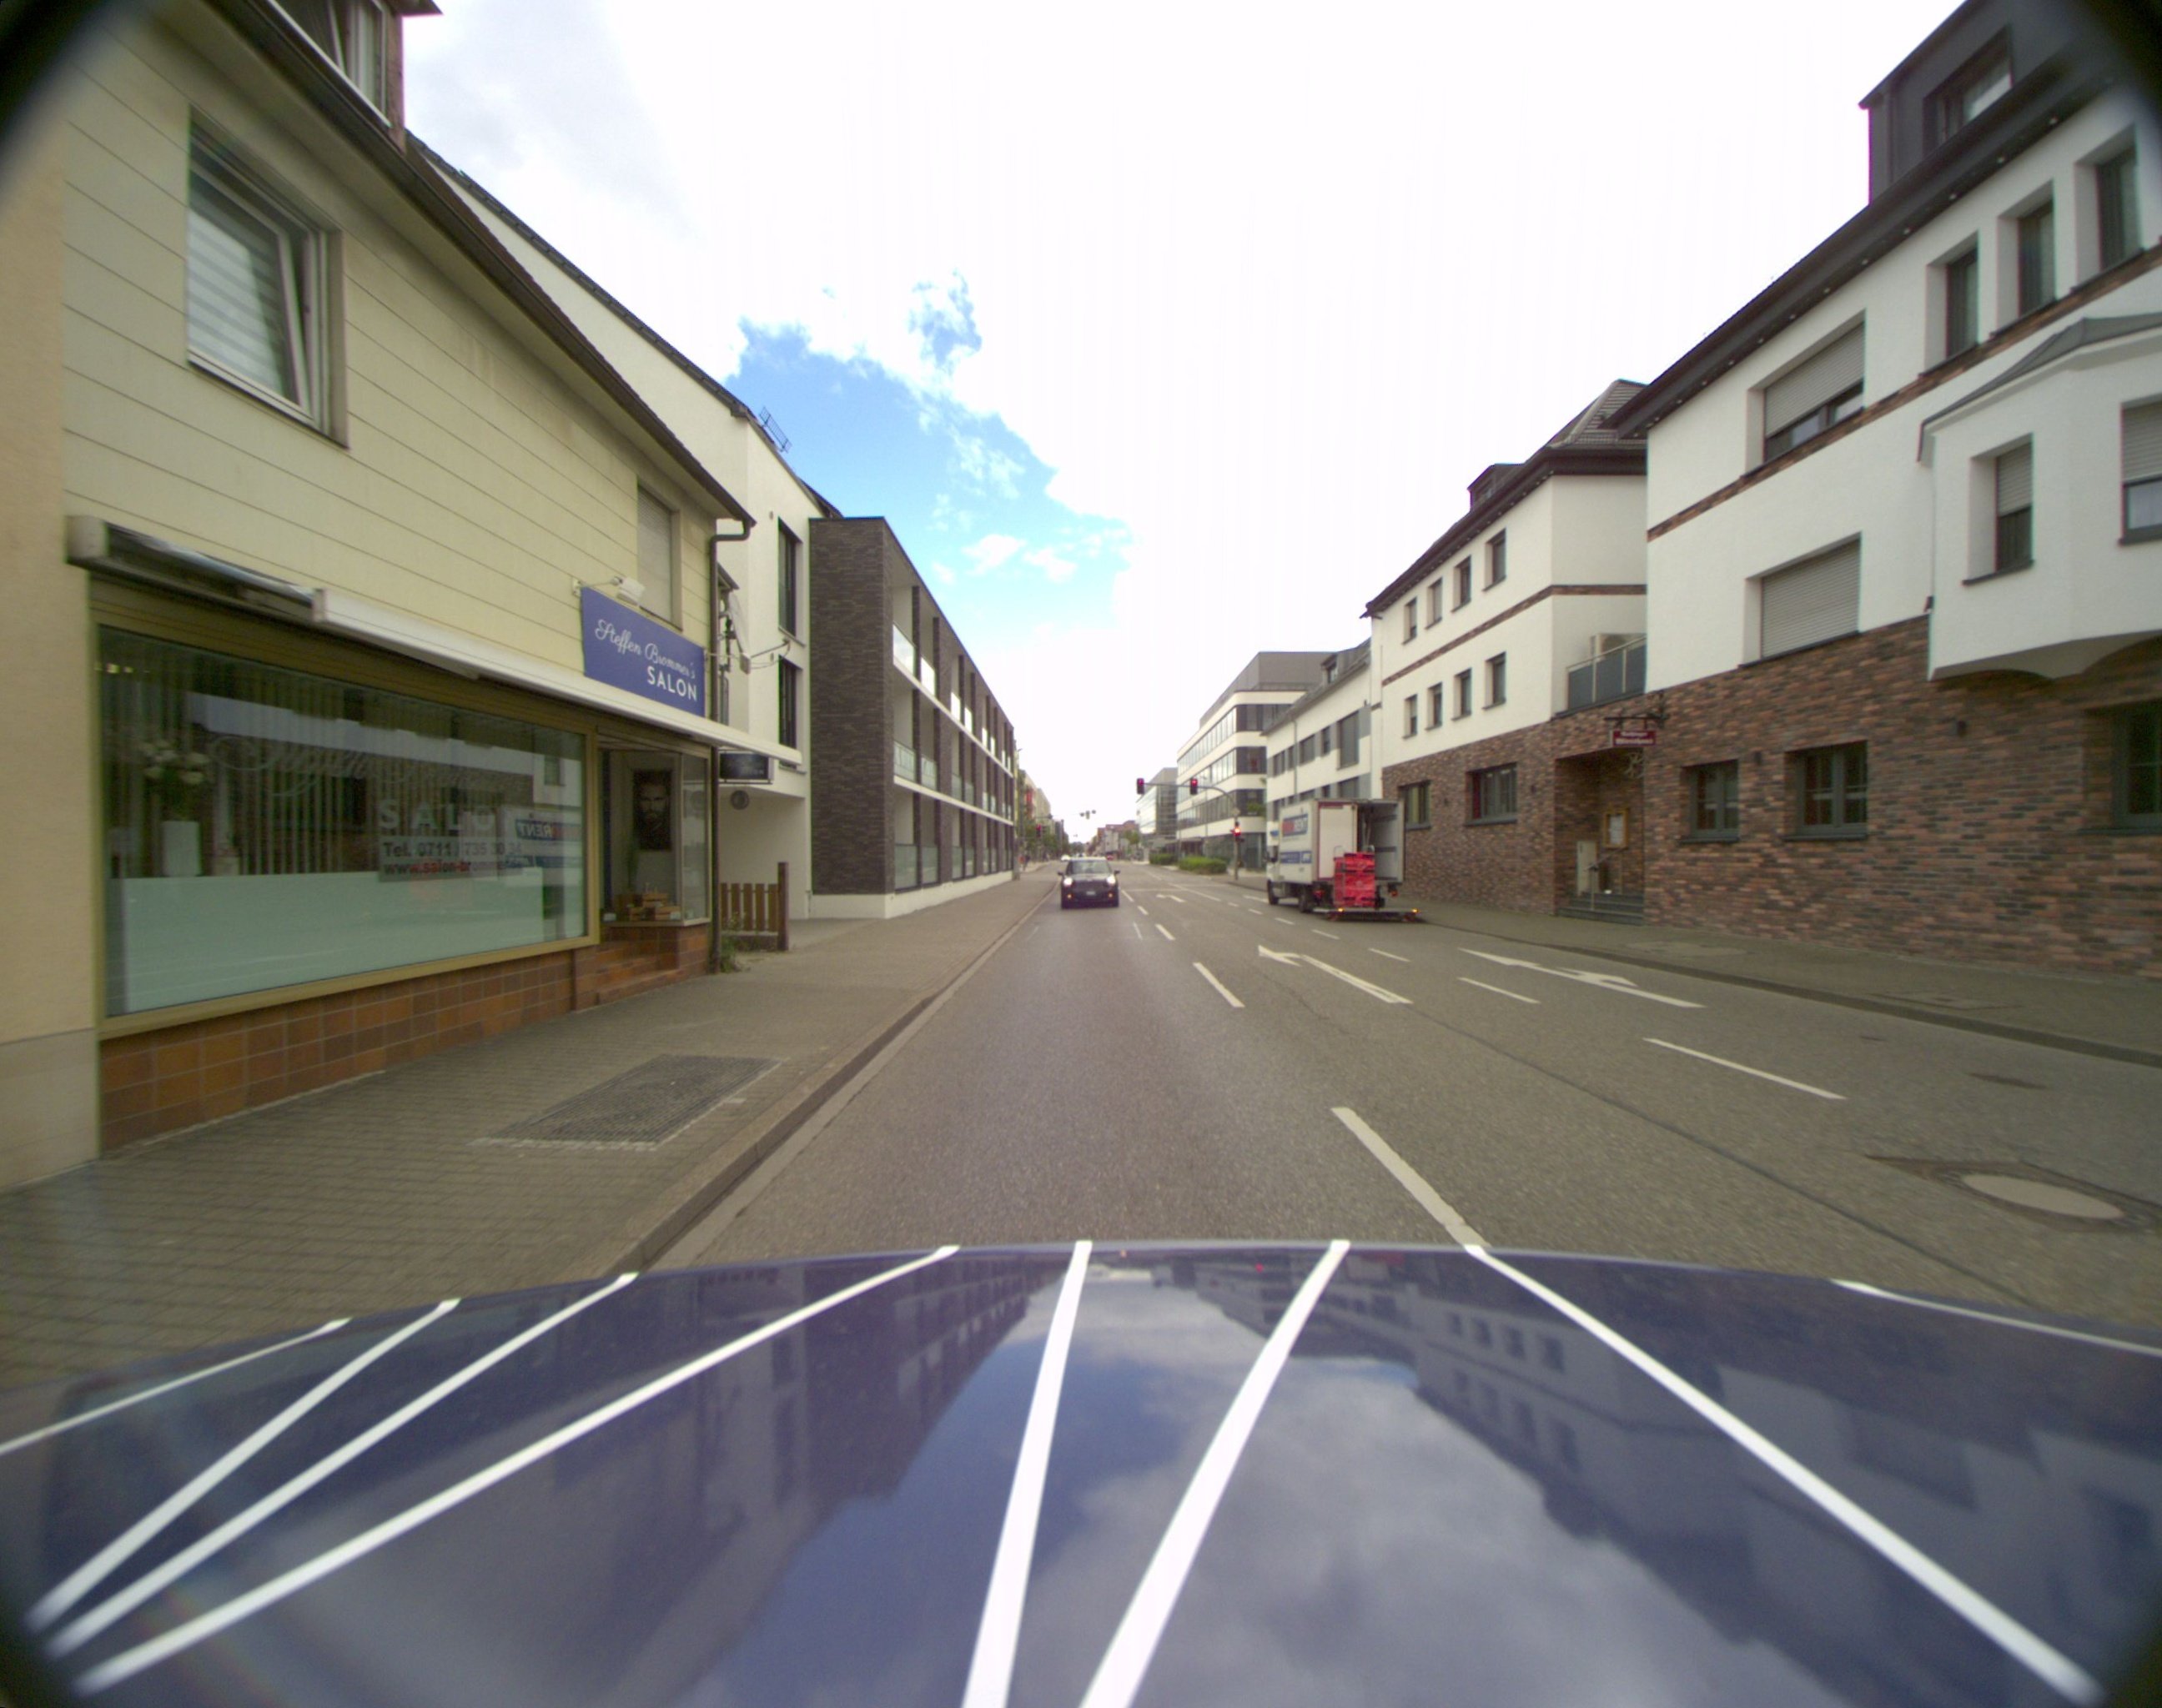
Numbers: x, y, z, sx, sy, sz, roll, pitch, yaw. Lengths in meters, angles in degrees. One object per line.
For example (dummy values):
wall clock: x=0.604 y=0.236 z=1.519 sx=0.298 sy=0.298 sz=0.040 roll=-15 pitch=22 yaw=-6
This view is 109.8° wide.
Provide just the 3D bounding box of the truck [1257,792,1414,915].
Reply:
truck: x=6.965 y=-0.032 z=21.711 sx=2.468 sy=2.954 sz=5.964 roll=-2 pitch=1 yaw=1

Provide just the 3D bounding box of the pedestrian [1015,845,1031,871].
pedestrian: x=-3.800 y=0.249 z=50.129 sx=0.938 sy=1.732 sz=0.901 roll=-1 pitch=1 yaw=1

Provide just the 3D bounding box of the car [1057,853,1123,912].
car: x=0.294 y=0.837 z=24.469 sx=1.847 sy=1.571 sz=4.429 roll=-3 pitch=1 yaw=1
